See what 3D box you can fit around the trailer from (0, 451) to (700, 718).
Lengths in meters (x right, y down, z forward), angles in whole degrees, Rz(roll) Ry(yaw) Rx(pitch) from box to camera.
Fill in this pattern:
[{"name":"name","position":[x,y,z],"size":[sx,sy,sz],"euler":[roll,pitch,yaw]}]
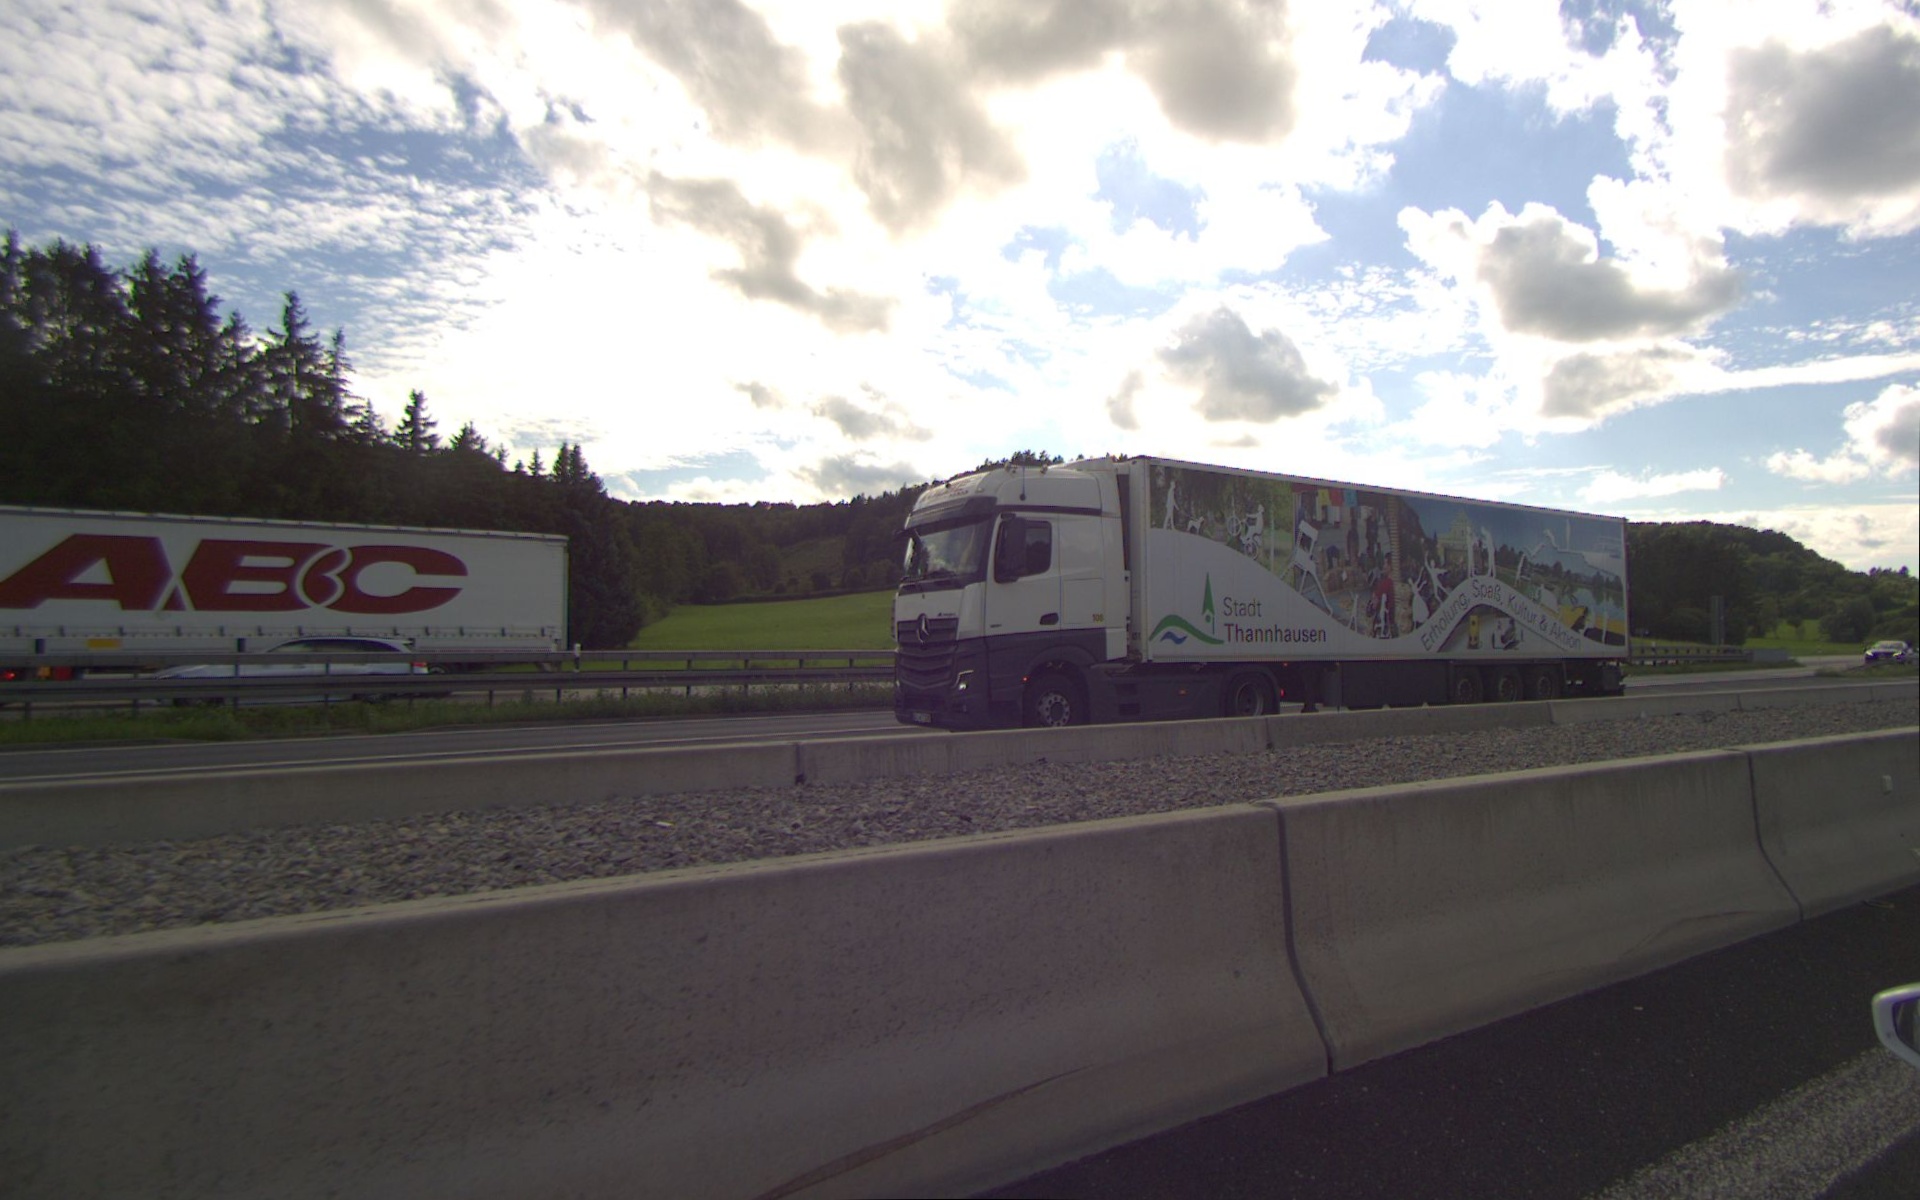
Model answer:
[{"name":"trailer","position":[-13.995,-0.067,24.573],"size":[14.557,5.228,3.092],"euler":[2,-3,-32]}]

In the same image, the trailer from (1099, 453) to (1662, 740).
[{"name":"trailer","position":[8.574,0.162,19.024],"size":[13.128,4.183,2.477],"euler":[2,-3,-31]}]

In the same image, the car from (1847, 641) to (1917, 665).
[{"name":"car","position":[58.577,3.371,63.803],"size":[4.946,1.470,1.983],"euler":[2,-3,-32]}]

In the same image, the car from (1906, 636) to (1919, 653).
[{"name":"car","position":[92.224,4.247,95.774],"size":[4.251,1.639,1.793],"euler":[2,-3,-30]}]

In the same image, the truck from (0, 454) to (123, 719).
[{"name":"truck","position":[-21.246,-0.281,19.990],"size":[6.558,5.209,3.009],"euler":[2,-3,-33]}]

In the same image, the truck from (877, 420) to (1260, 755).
[{"name":"truck","position":[1.663,-0.053,14.947],"size":[5.237,4.183,2.477],"euler":[2,-3,-30]}]
